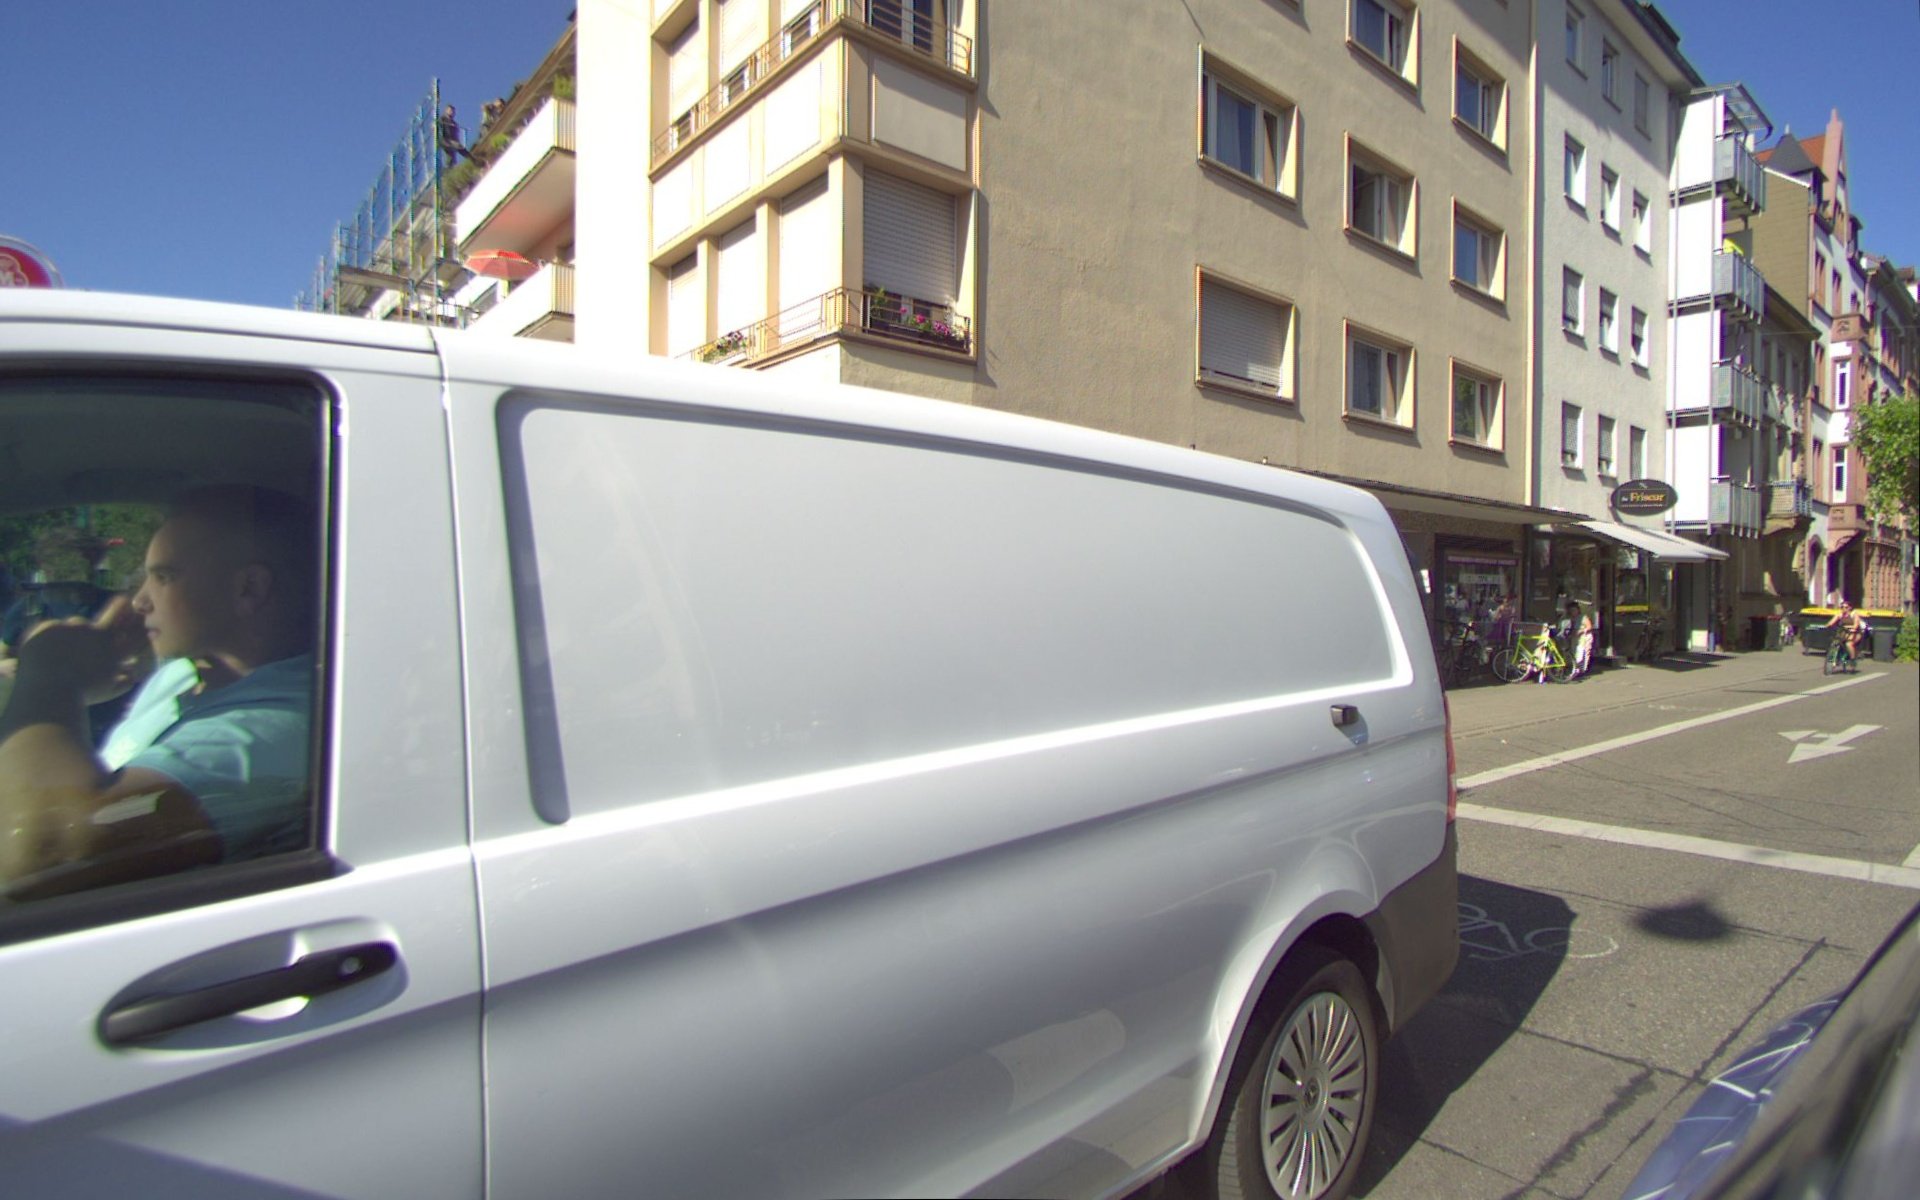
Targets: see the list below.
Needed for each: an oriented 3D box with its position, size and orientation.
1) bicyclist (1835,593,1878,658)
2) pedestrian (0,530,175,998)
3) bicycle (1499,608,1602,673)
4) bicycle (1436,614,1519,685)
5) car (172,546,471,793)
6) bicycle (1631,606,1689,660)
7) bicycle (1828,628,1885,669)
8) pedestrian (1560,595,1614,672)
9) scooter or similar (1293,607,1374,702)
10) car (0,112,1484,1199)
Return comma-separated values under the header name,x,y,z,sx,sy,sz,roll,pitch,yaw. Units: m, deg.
name,x,y,z,sx,sy,sz,roll,pitch,yaw
bicyclist,19.649,0.556,22.186,0.652,1.394,0.583,0,0,-35
pedestrian,-3.880,0.641,4.386,0.624,1.845,0.598,1,0,35
bicycle,10.709,0.715,18.413,1.475,1.120,0.719,1,0,19
bicycle,8.623,0.806,16.848,1.766,1.098,0.408,0,3,-35
car,-5.841,0.447,9.027,1.793,1.683,3.996,0,1,-39
bicycle,16.162,0.733,23.354,1.742,1.157,0.598,0,3,-40
bicycle,19.718,1.048,22.241,1.677,0.816,0.583,0,0,-36
pedestrian,12.237,0.637,19.744,0.615,1.460,0.774,0,0,-45
scooter or similar,5.170,0.729,13.996,1.207,1.240,0.527,0,0,-40
car,-0.945,0.498,2.014,4.749,1.833,1.971,-1,1,-42
